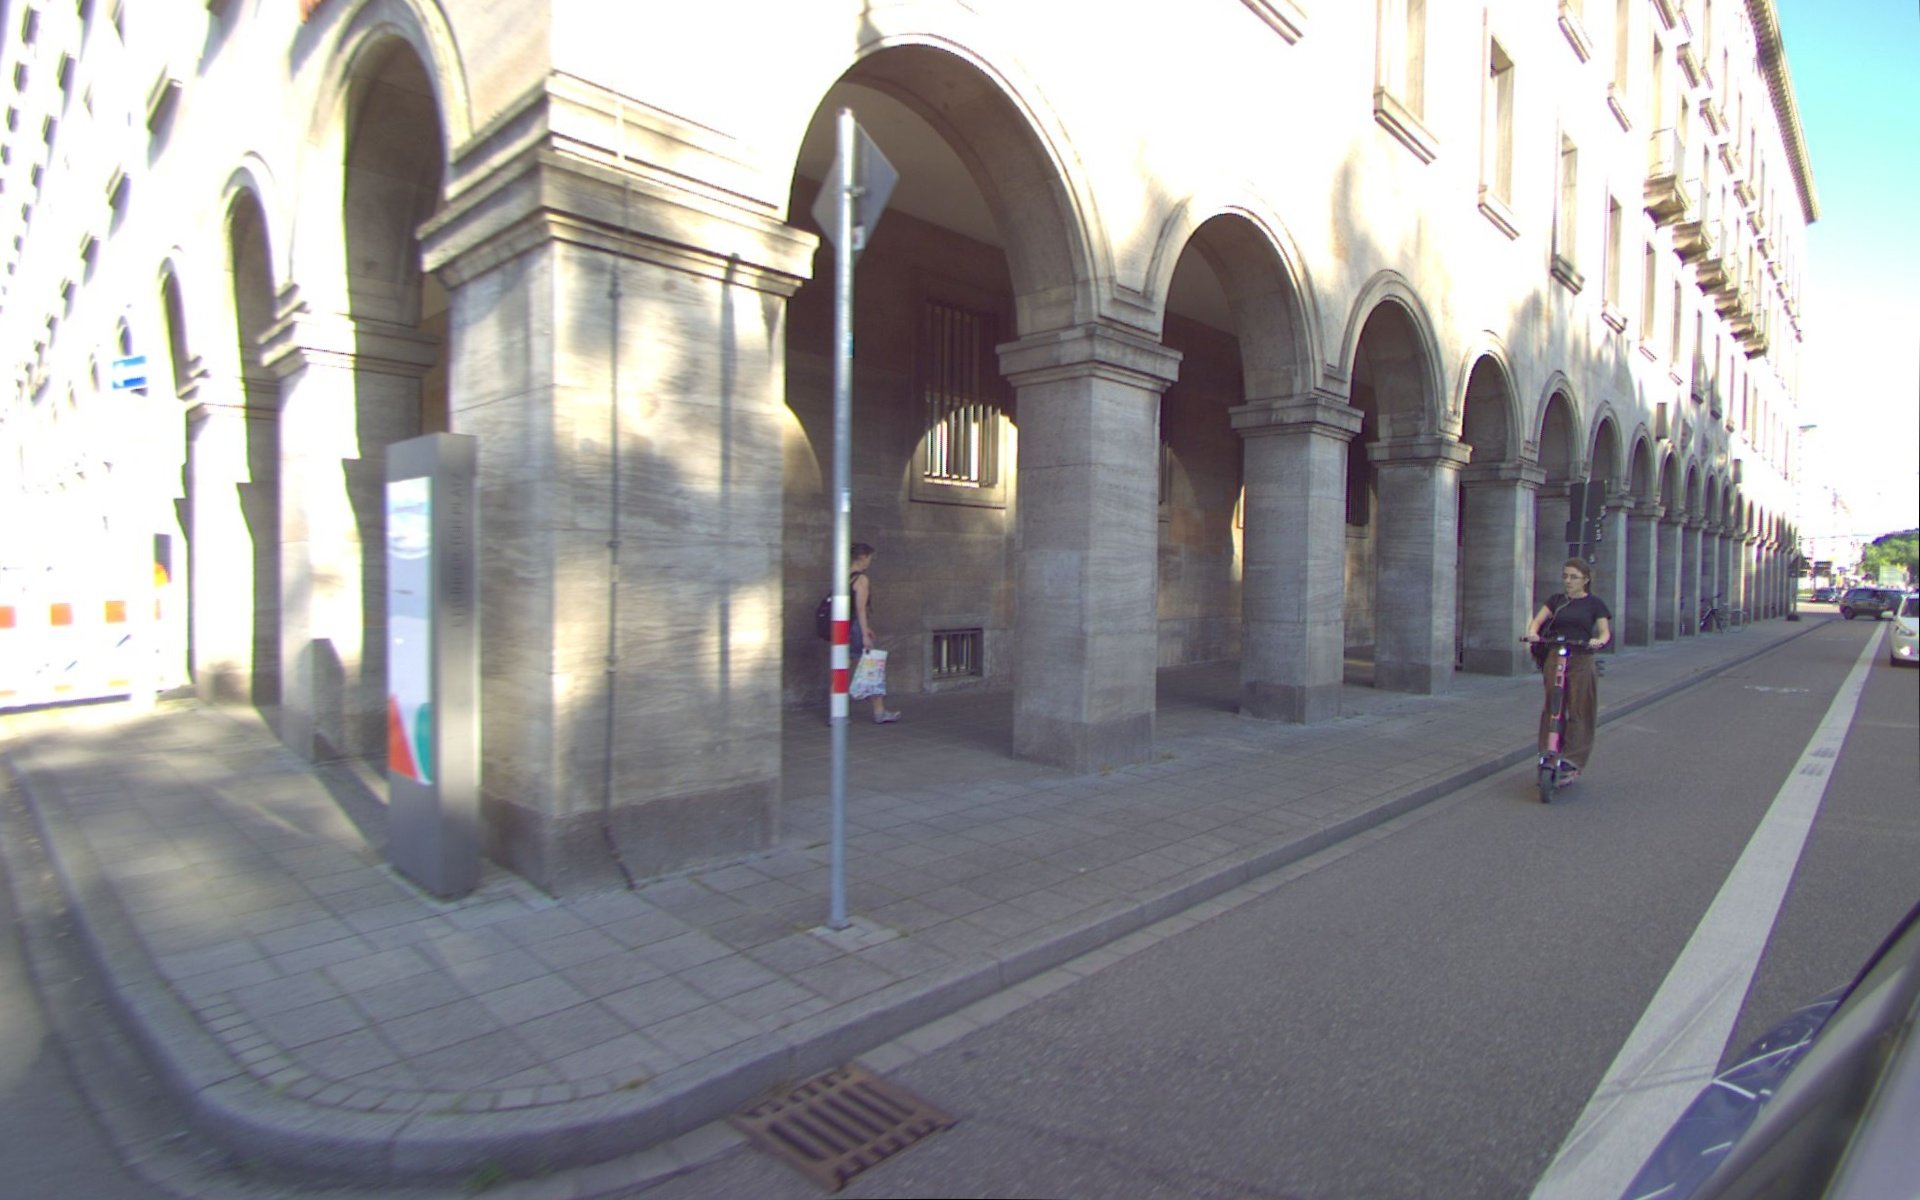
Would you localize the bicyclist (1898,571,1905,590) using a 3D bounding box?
[{"bbox_3d":[76.683,-1.583,82.450,0.357,1.595,0.527,2,2,44],"label":"bicyclist"}]

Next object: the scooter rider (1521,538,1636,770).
[{"bbox_3d":[4.646,0.371,7.603,0.639,1.652,0.562,-1,2,-42],"label":"scooter rider"}]

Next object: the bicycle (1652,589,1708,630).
[{"bbox_3d":[19.660,0.250,27.621,1.678,1.063,0.473,0,3,-27],"label":"bicycle"}]

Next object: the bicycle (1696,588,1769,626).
[{"bbox_3d":[24.065,0.210,31.551,1.699,1.063,0.522,3,3,30],"label":"bicycle"}]

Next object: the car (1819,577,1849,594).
[{"bbox_3d":[87.225,-1.504,100.975,1.994,1.593,4.477,2,2,44],"label":"car"}]

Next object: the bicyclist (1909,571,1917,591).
[{"bbox_3d":[77.285,-1.543,82.059,0.452,1.595,0.527,2,2,44],"label":"bicyclist"}]

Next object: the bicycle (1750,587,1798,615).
[{"bbox_3d":[37.018,0.030,46.043,0.651,1.147,1.716,1,3,-6],"label":"bicycle"}]

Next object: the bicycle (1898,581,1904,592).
[{"bbox_3d":[76.681,-1.087,82.463,0.351,0.884,1.363,2,2,44],"label":"bicycle"}]

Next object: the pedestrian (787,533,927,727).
[{"bbox_3d":[-0.902,0.229,8.907,0.776,1.589,0.938,2,1,42],"label":"pedestrian"}]

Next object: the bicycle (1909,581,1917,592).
[{"bbox_3d":[77.323,-1.069,82.116,0.451,0.884,1.363,2,2,44],"label":"bicycle"}]

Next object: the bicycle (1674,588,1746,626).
[{"bbox_3d":[22.507,0.209,30.395,1.680,1.063,0.613,2,2,-2],"label":"bicycle"}]

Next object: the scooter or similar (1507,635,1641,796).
[{"bbox_3d":[4.619,0.821,7.594,1.098,1.044,0.556,-1,2,-42],"label":"scooter or similar"}]

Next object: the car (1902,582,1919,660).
[{"bbox_3d":[20.453,0.389,20.631,3.704,1.482,1.675,-2,1,-45],"label":"car"}]
